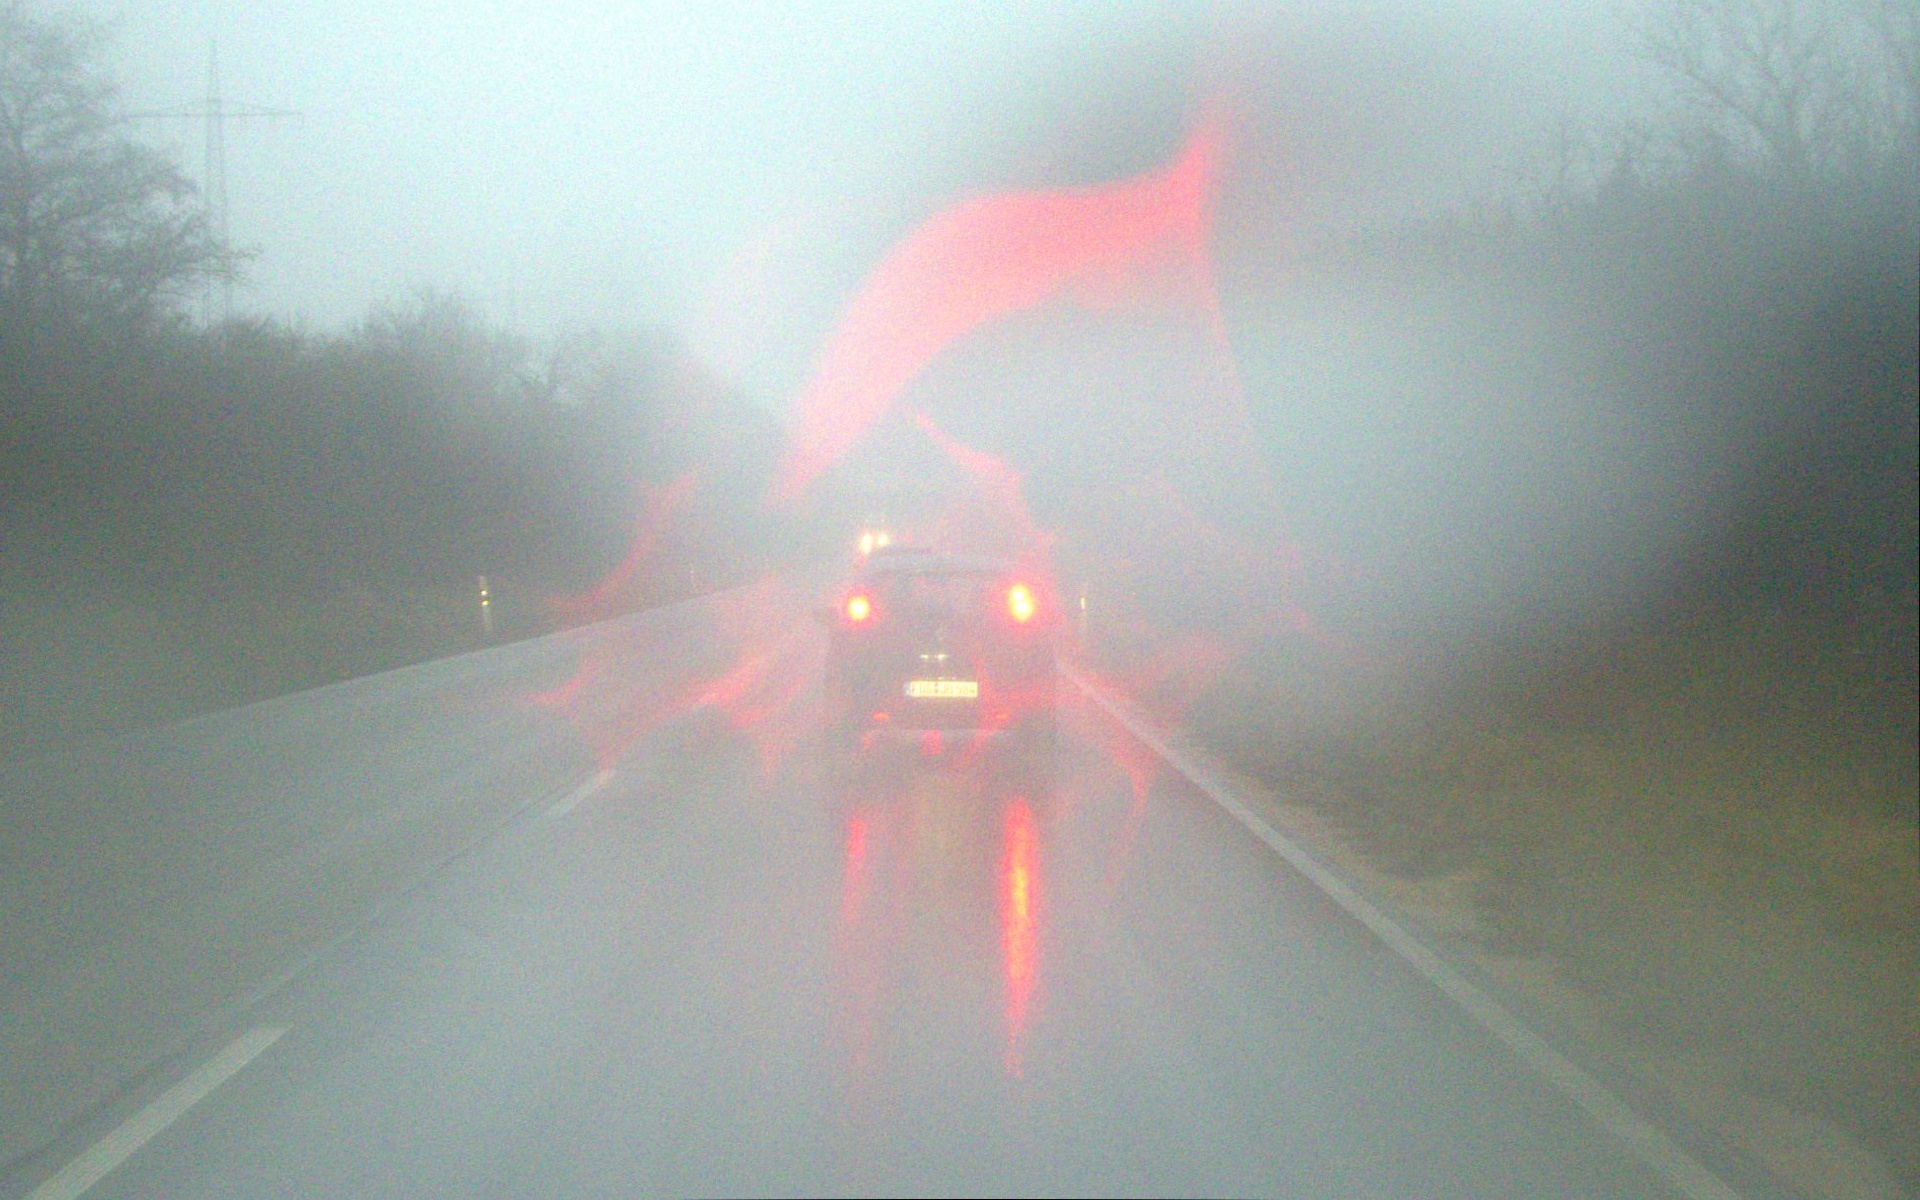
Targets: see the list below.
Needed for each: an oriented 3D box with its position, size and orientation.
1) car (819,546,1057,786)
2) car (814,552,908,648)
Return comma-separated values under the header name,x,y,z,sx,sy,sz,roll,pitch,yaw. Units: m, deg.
name,x,y,z,sx,sy,sz,roll,pitch,yaw
car,-0.177,0.441,25.909,1.648,1.666,3.514,1,1,-1
car,-1.880,-0.026,65.901,1.733,1.773,4.000,1,1,-1
